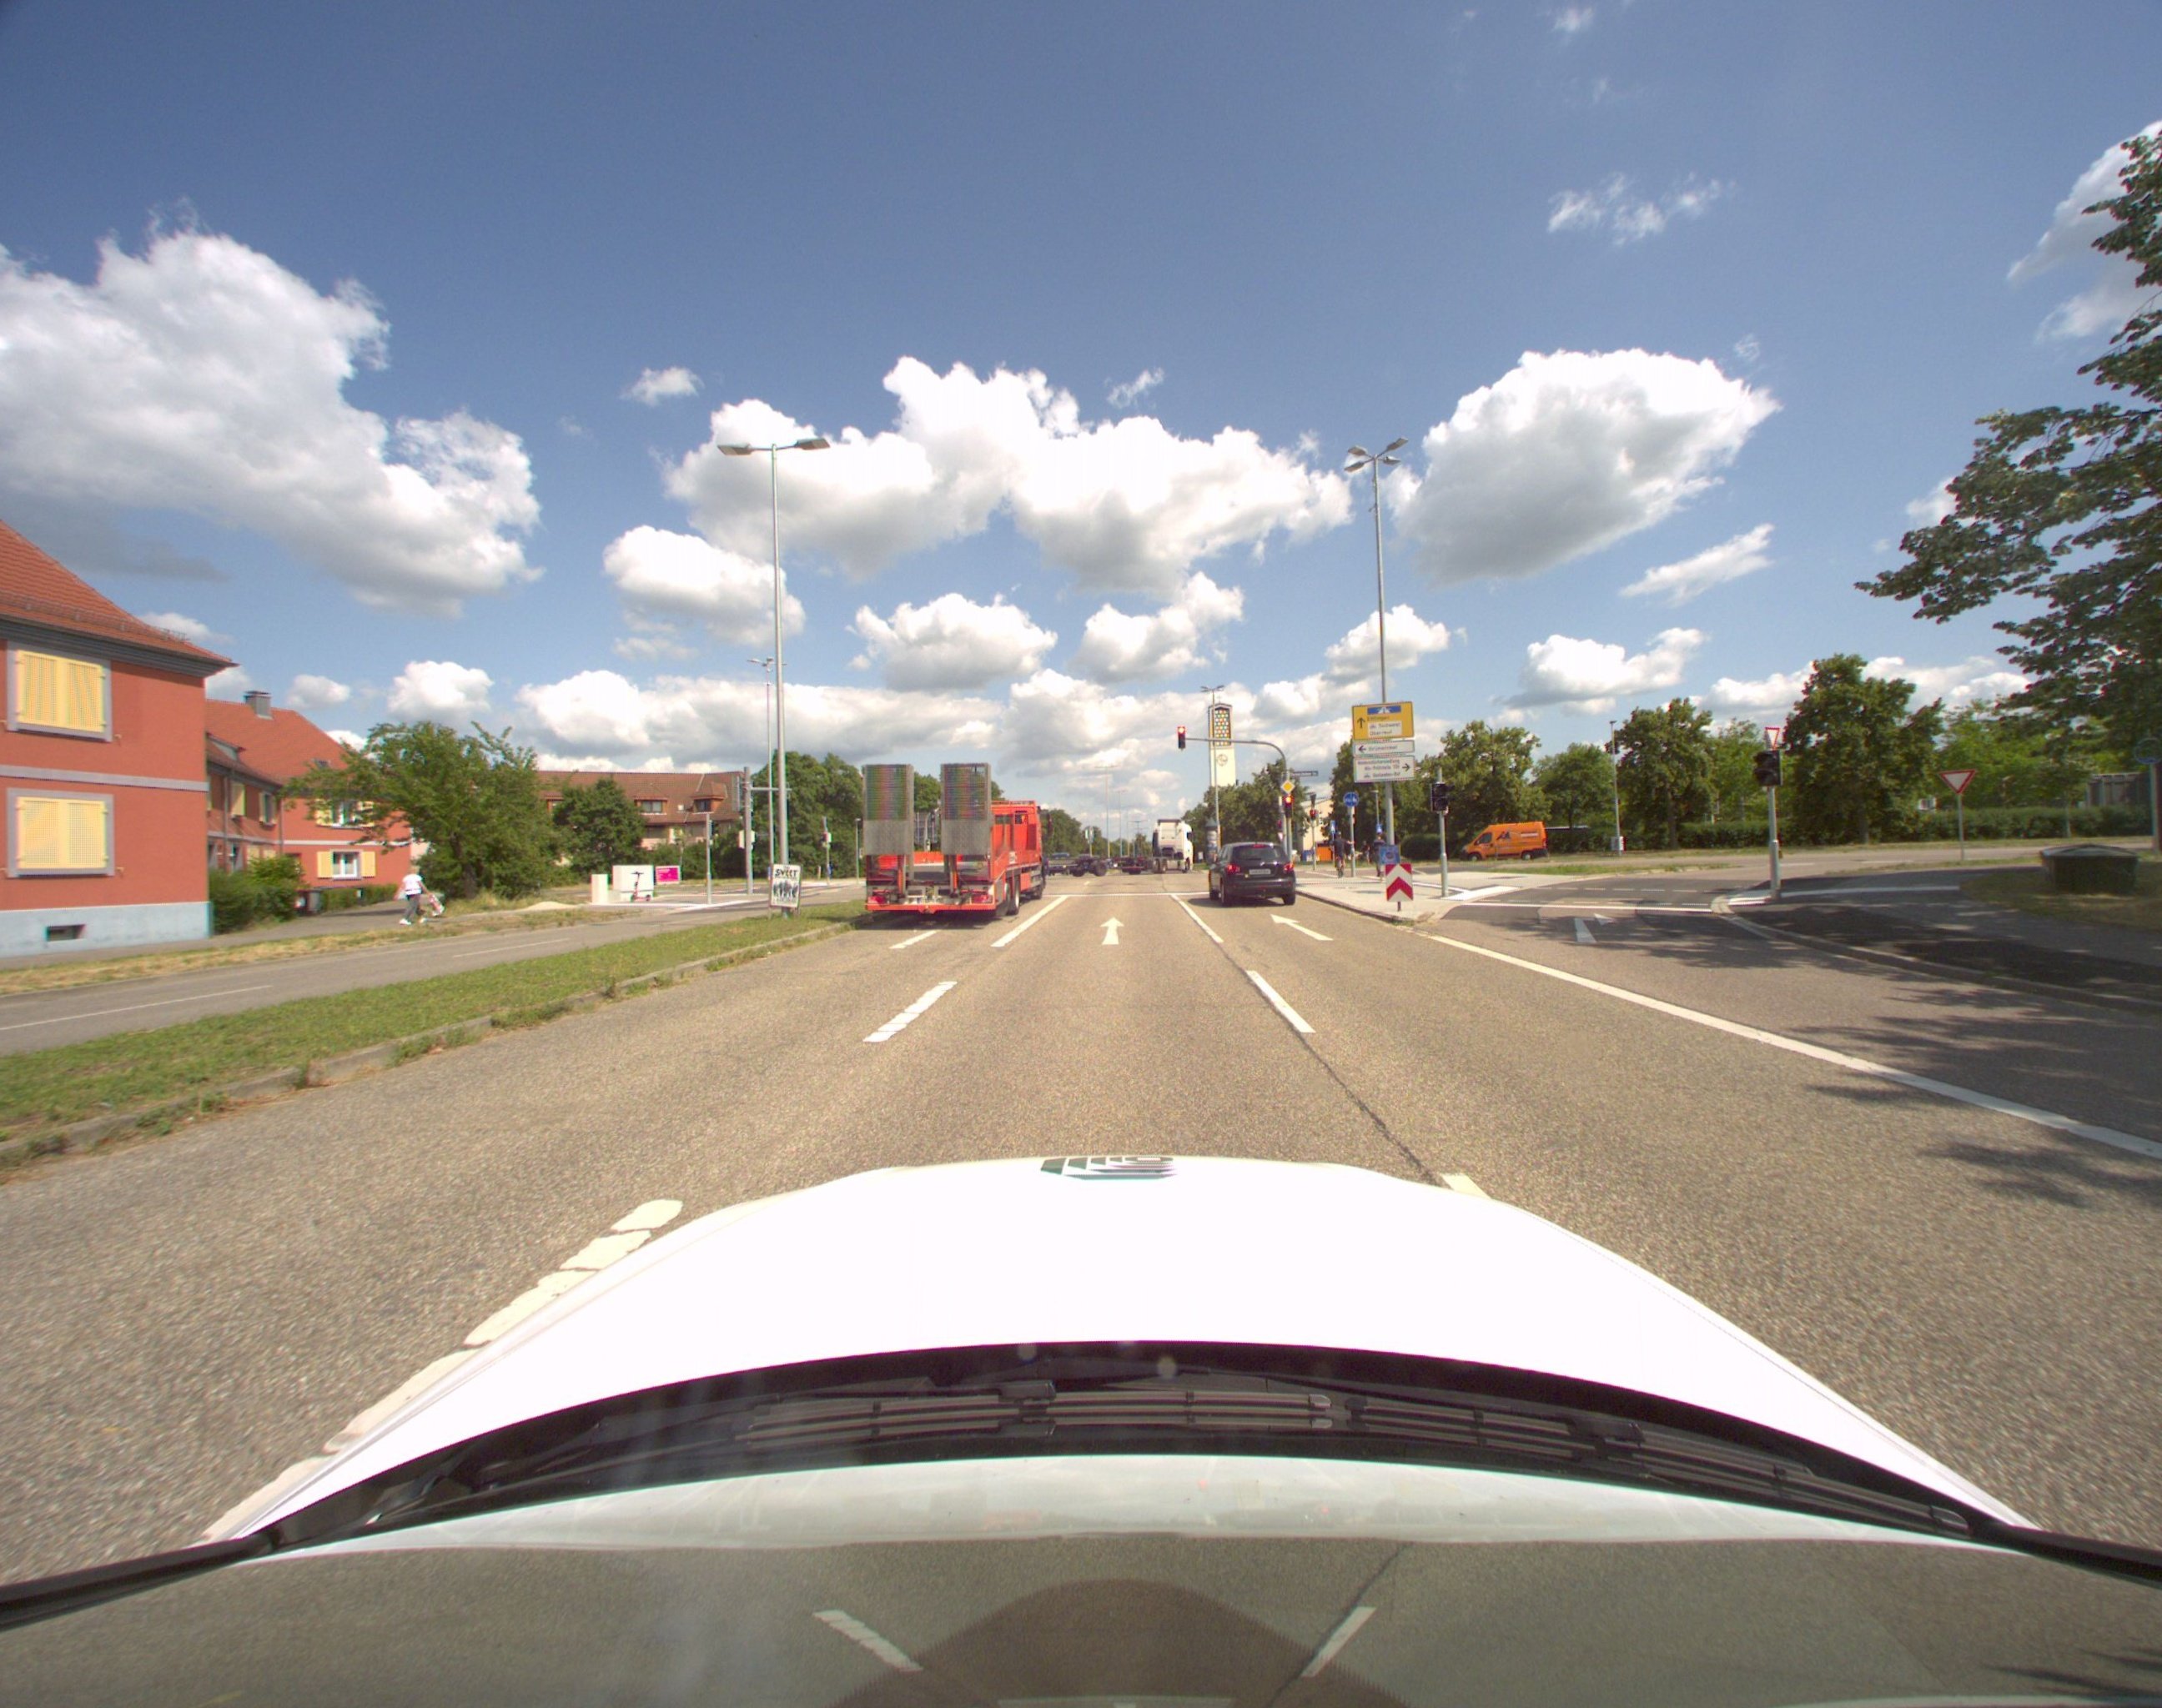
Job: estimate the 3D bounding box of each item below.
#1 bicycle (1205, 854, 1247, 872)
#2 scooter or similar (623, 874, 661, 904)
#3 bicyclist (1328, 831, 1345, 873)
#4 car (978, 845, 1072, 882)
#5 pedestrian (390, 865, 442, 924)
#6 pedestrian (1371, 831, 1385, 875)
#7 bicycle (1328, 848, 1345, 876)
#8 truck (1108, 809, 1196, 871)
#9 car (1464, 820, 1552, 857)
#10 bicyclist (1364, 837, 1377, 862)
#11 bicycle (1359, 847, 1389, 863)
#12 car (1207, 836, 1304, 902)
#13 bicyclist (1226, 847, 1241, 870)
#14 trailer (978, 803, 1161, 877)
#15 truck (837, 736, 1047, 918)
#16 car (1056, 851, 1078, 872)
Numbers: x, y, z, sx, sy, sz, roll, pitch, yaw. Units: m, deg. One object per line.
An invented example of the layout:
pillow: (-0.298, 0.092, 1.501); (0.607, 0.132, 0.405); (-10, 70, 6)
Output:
bicycle: (10.071, 0.611, 56.386); (2.843, 1.112, 0.792); (-2, 0, -20)
scooter or similar: (-18.107, 1.426, 33.621); (0.587, 1.164, 1.762); (0, -1, 2)
bicyclist: (10.388, -0.070, 33.050); (0.643, 1.661, 0.653); (0, -1, 18)
car: (-2.519, 0.440, 37.484); (1.832, 1.574, 4.239); (-1, -1, 41)
pedestrian: (-18.259, 1.096, 22.382); (0.693, 1.583, 0.851); (0, -1, 2)
pedestrian: (12.030, -0.030, 33.021); (0.461, 1.779, 0.484); (0, -1, 13)
bicycle: (10.448, 0.343, 33.231); (0.643, 1.107, 1.937); (0, -1, 18)
truck: (5.083, -0.946, 56.249); (2.932, 3.970, 8.690); (-1, 0, 27)
car: (26.721, -0.926, 50.965); (4.797, 2.226, 2.225); (0, -1, 30)
bicyclist: (21.522, -0.316, 60.473); (0.781, 1.804, 0.688); (-2, -1, 14)
bicycle: (21.711, 0.087, 60.422); (1.982, 1.093, 0.688); (-2, -1, 14)
car: (4.375, 0.372, 21.002); (1.792, 1.552, 4.002); (0, -1, 2)
bicyclist: (10.588, 0.307, 56.576); (0.701, 1.616, 0.792); (-1, 0, -20)
trailer: (-0.431, -0.845, 49.097); (11.378, 4.012, 3.589); (-1, 0, -41)
truck: (-2.843, -0.446, 20.827); (3.059, 3.414, 11.073); (0, -1, 2)
car: (-1.084, 0.608, 64.930); (1.729, 1.660, 4.229); (0, -1, -1)
